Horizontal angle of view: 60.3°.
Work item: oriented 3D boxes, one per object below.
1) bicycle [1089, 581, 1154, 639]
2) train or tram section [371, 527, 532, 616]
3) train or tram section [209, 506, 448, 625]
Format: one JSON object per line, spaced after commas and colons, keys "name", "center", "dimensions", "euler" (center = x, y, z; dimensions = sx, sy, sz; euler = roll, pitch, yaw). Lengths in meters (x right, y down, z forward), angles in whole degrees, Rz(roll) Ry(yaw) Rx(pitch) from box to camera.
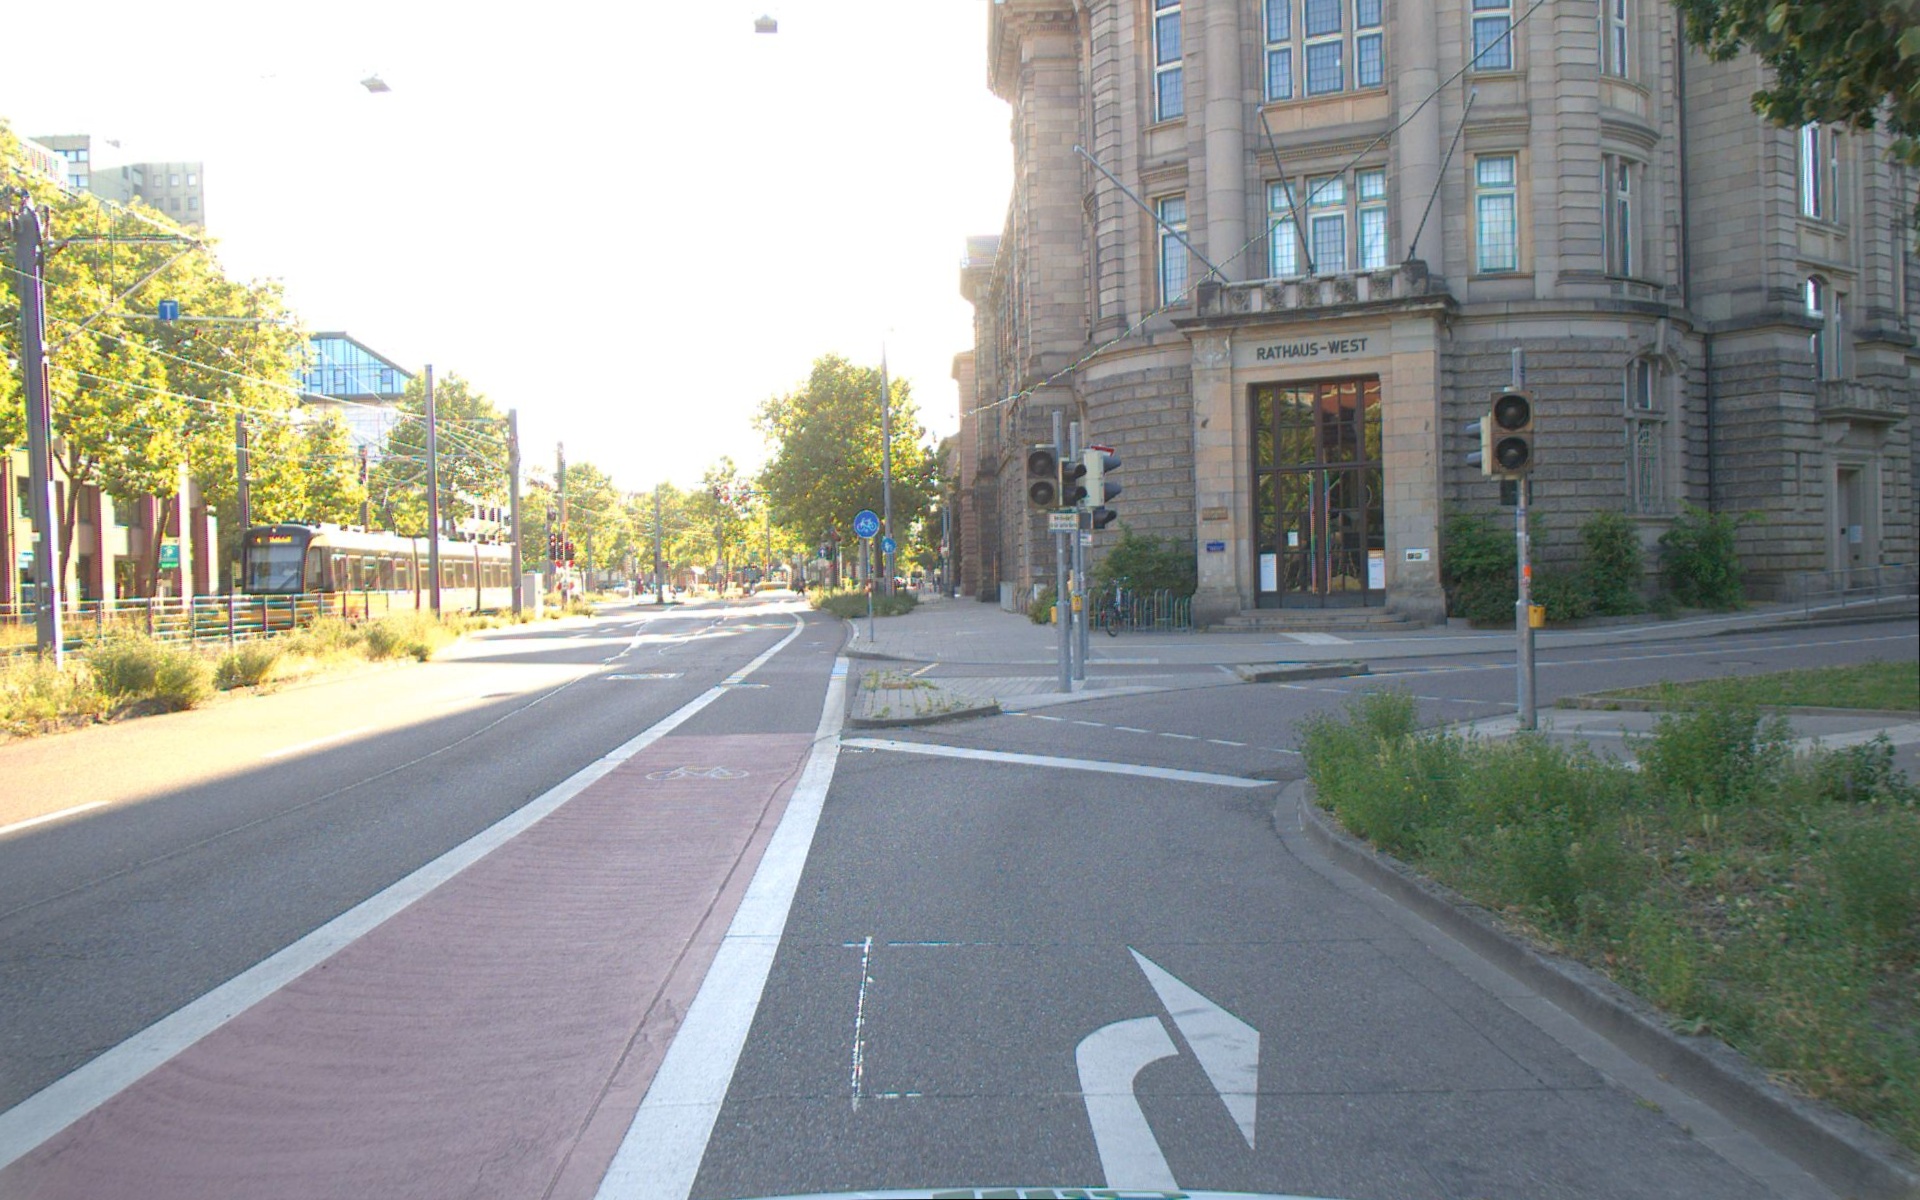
{"name": "bicycle", "center": [3.629, 0.216, 36.984], "dimensions": [0.849, 1.217, 2.240], "euler": [-2, 0, 21]}
{"name": "train or tram section", "center": [-23.755, -1.272, 78.902], "dimensions": [3.051, 3.621, 19.913], "euler": [-2, 1, -5]}
{"name": "train or tram section", "center": [-22.380, -1.140, 60.265], "dimensions": [3.051, 3.621, 17.464], "euler": [-2, 1, -4]}
